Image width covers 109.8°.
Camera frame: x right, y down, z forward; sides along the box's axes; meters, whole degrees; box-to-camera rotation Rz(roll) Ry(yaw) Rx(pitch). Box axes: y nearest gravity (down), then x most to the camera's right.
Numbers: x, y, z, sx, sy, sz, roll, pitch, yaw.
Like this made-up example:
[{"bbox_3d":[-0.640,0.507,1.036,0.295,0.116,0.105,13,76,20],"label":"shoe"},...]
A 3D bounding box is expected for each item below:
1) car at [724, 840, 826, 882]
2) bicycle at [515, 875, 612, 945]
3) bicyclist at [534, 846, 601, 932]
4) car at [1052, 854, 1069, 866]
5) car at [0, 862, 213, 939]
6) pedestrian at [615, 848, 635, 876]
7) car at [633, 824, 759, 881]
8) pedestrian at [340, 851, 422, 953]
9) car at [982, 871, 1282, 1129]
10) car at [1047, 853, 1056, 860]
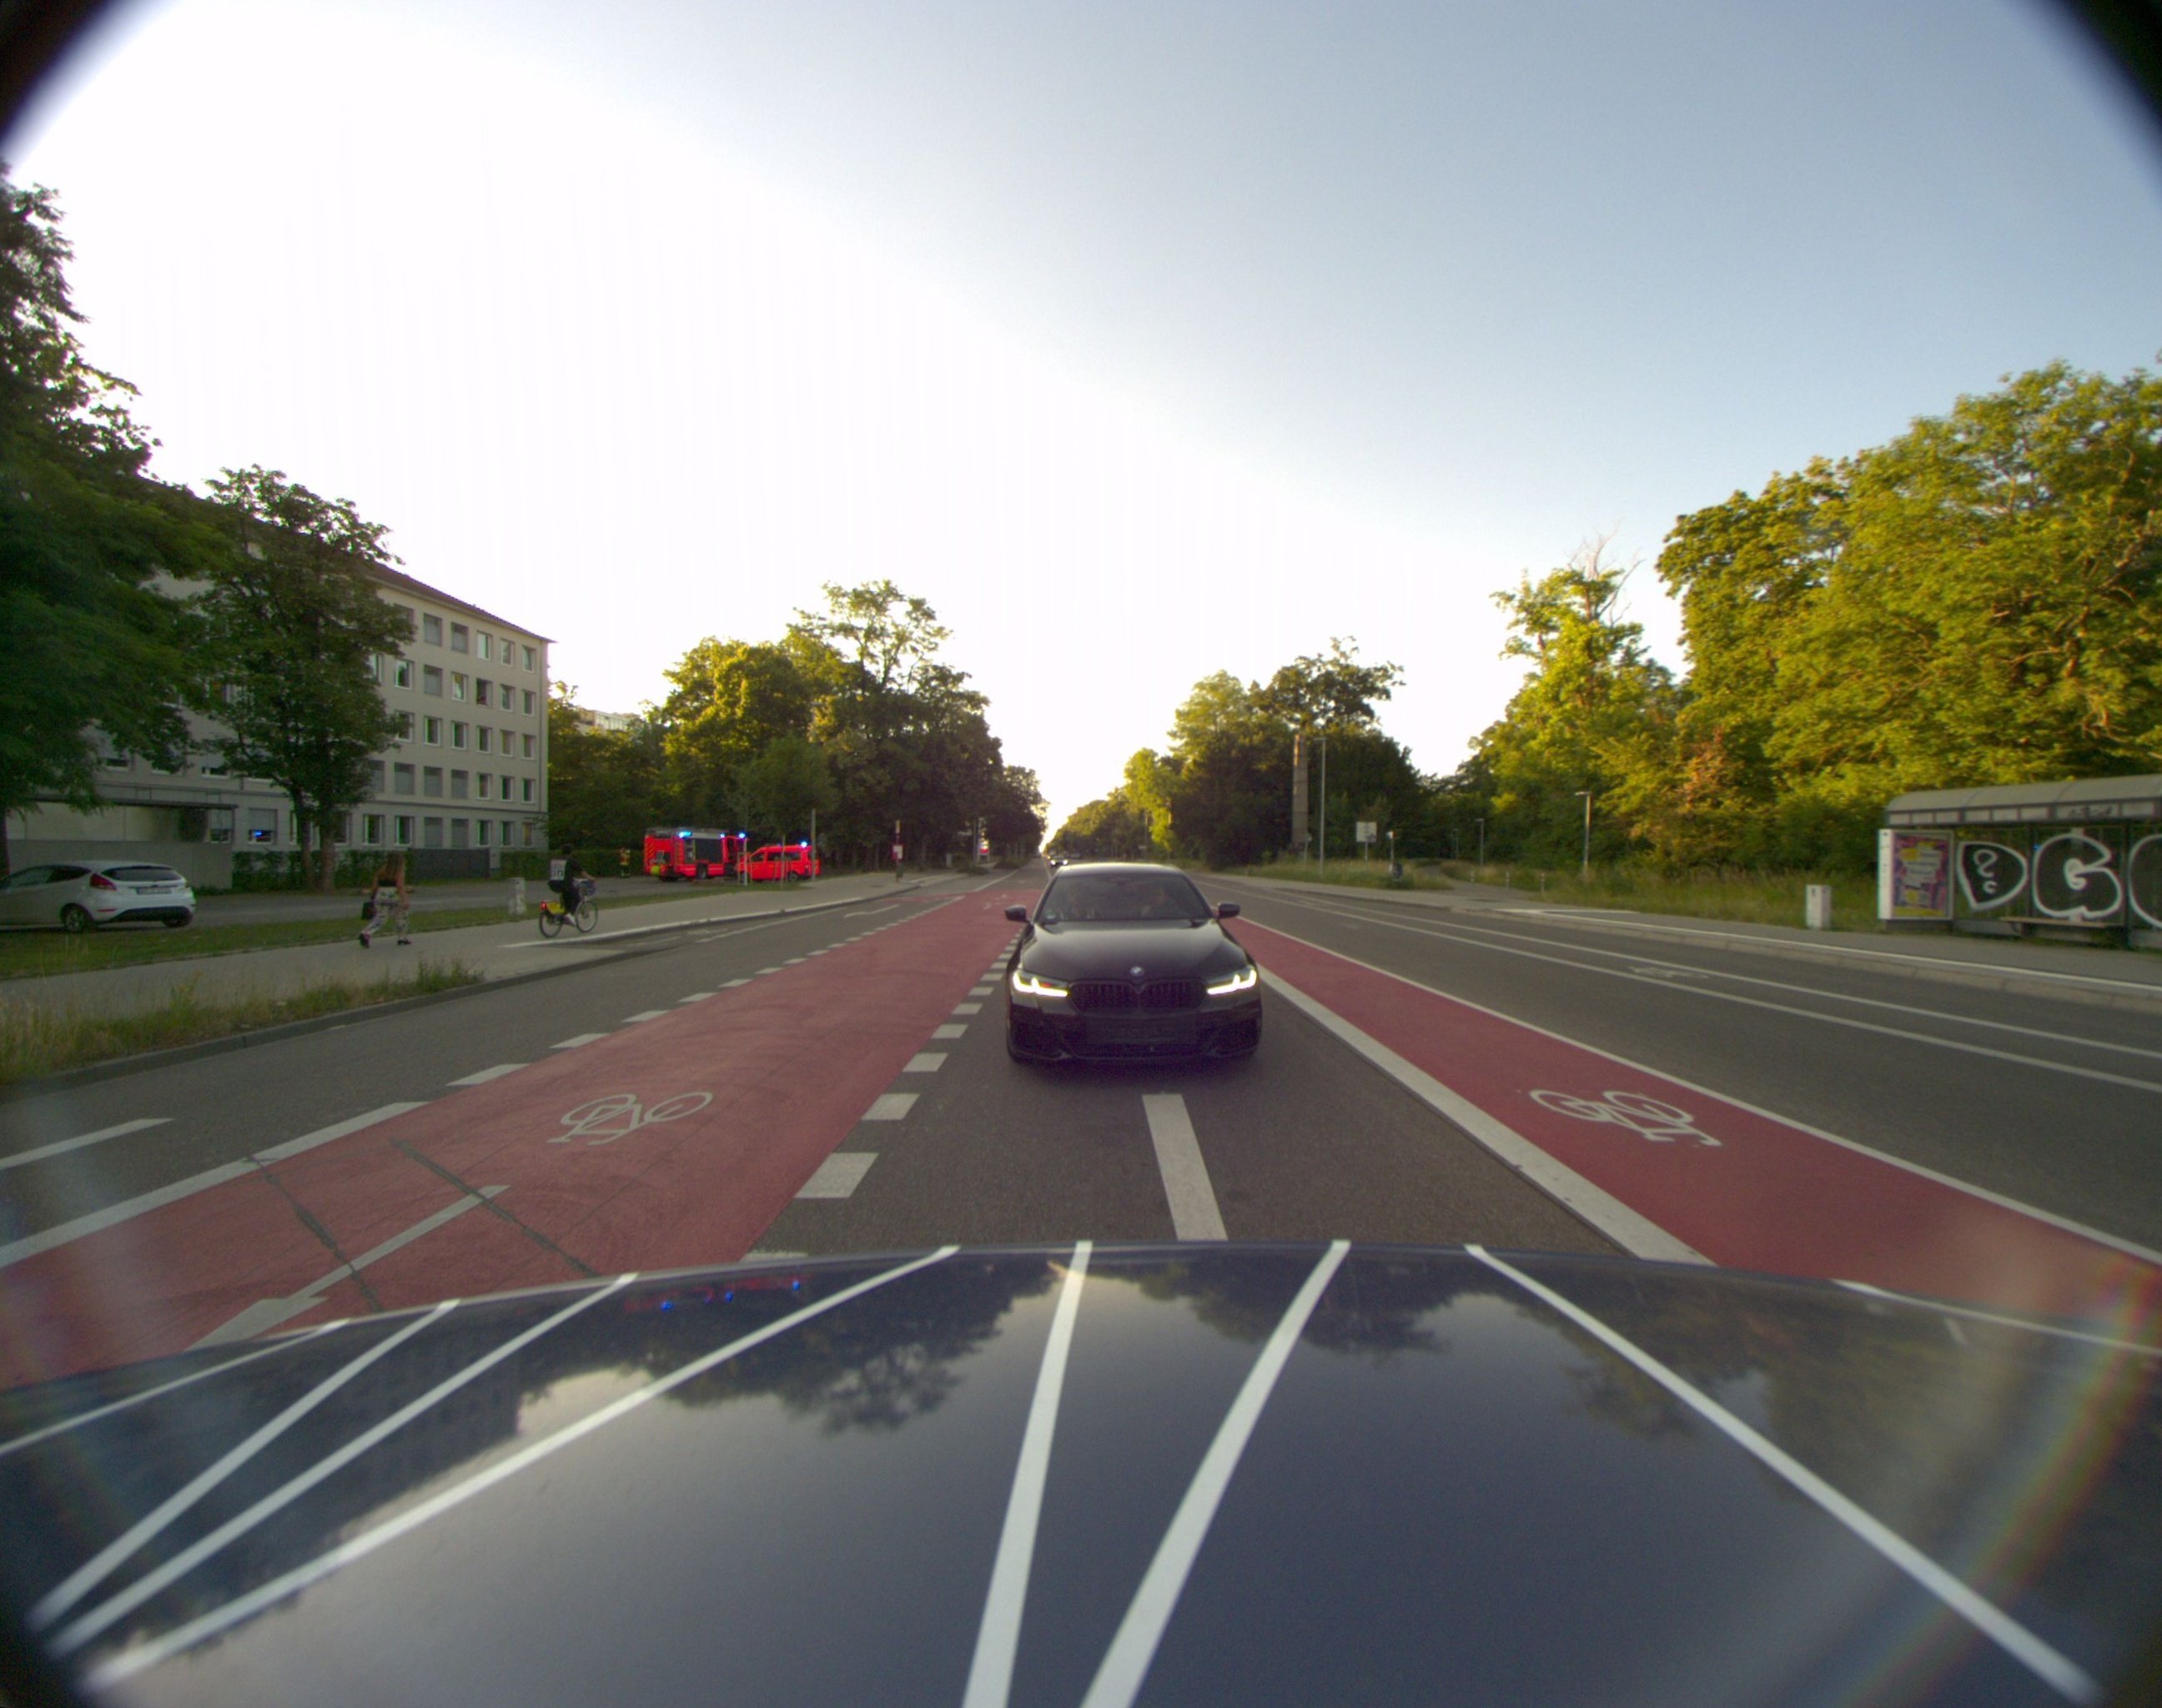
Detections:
[{"bbox_3d":[-17.939,0.396,44.709,5.164,2.379,2.000,0,1,3],"label":"car"},{"bbox_3d":[-10.042,1.050,14.837,0.571,1.233,1.899,0,1,1],"label":"bicycle"},{"bbox_3d":[-10.039,0.658,14.888,0.571,1.623,1.038,0,1,1],"label":"bicyclist"},{"bbox_3d":[-2.373,0.676,88.768,1.850,1.346,4.702,-2,0,-2],"label":"car"},{"bbox_3d":[-20.815,0.924,15.880,3.662,1.451,1.665,0,1,5],"label":"car"},{"bbox_3d":[-29.645,0.522,49.418,0.844,1.831,0.683,0,0,8],"label":"pedestrian"},{"bbox_3d":[-23.619,-0.135,47.238,2.770,3.225,8.301,0,0,7],"label":"car"},{"bbox_3d":[-11.393,0.766,12.385,0.682,1.613,0.688,0,0,1],"label":"pedestrian"},{"bbox_3d":[0.341,0.972,7.338,1.818,1.391,5.213,-2,0,0],"label":"car"},{"bbox_3d":[-7.096,0.589,183.211,1.850,1.473,4.703,-2,0,0],"label":"car"}]
